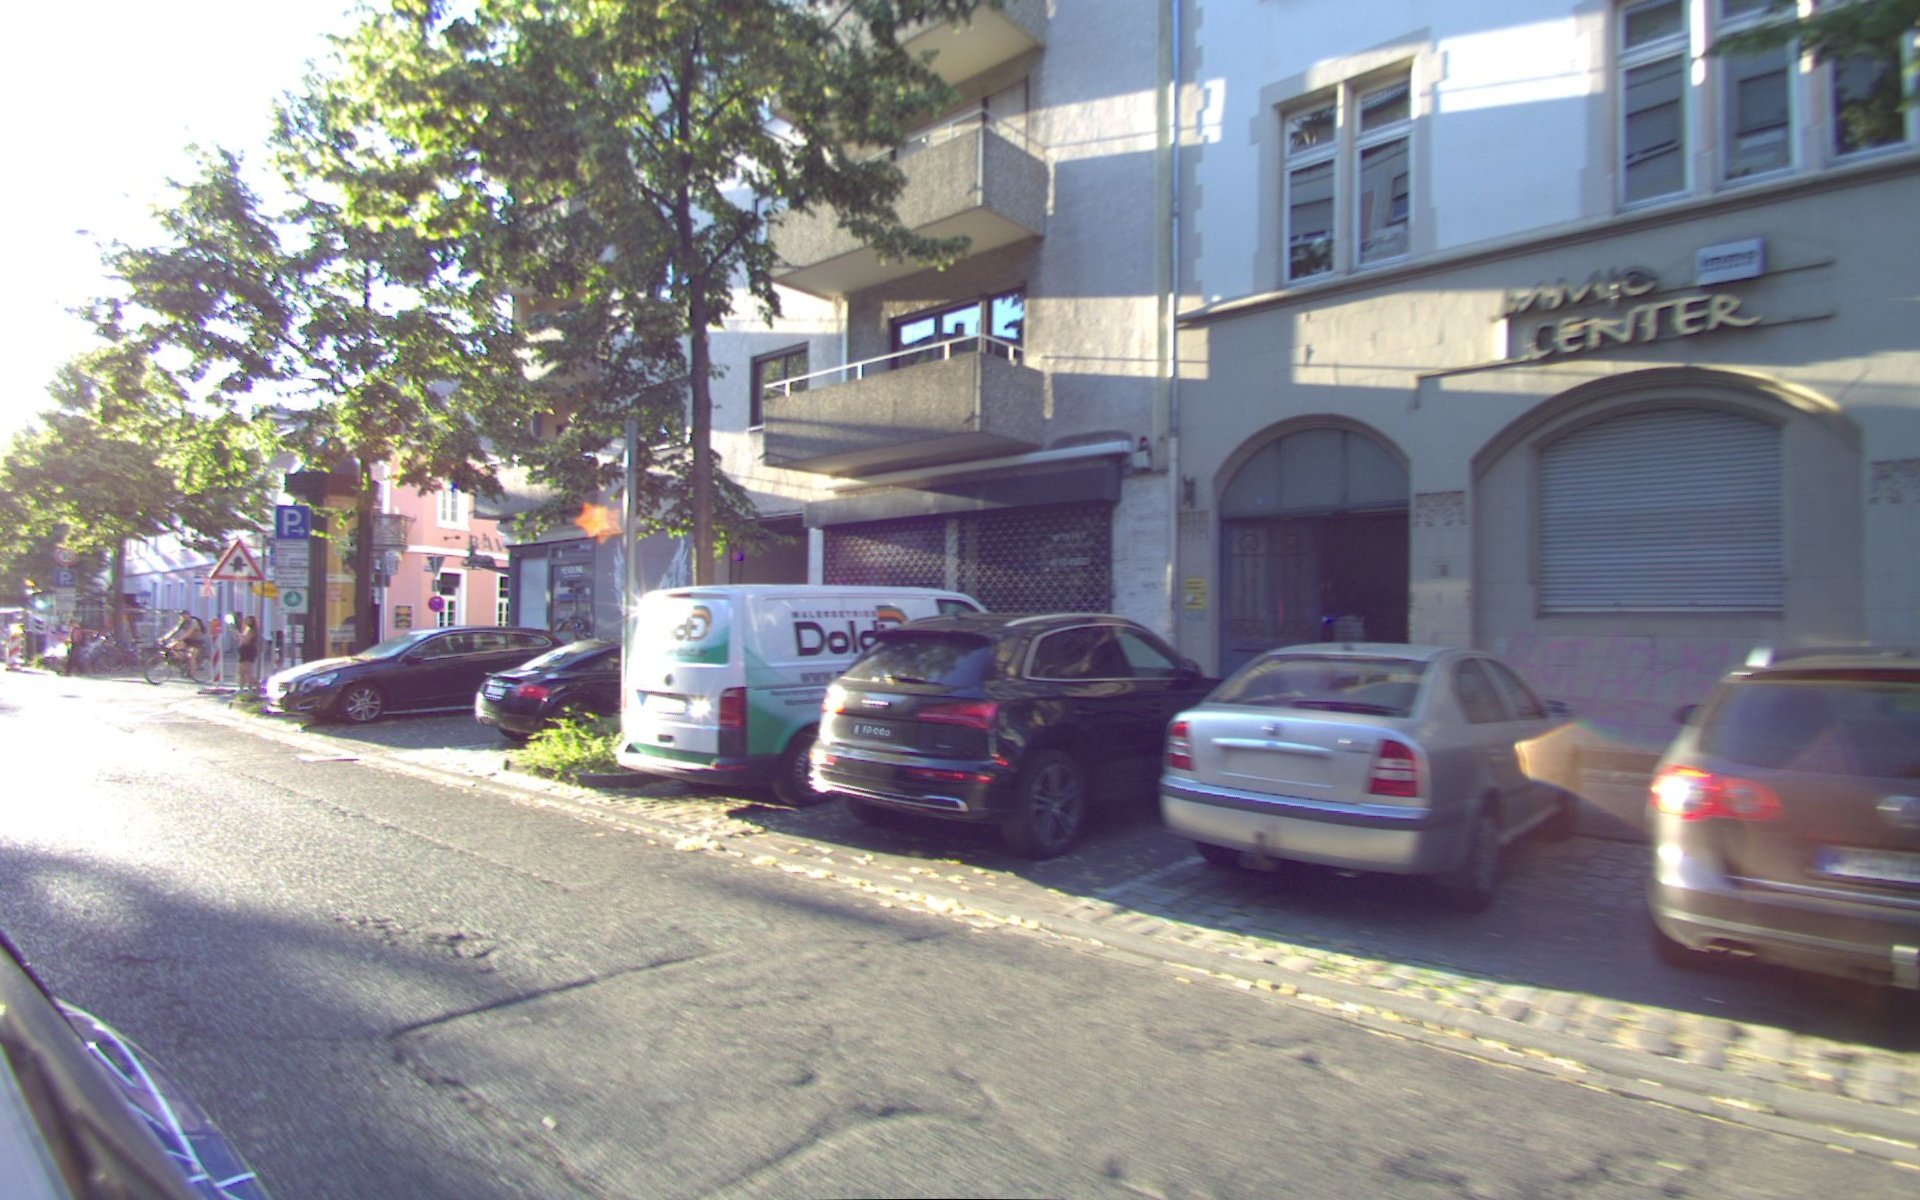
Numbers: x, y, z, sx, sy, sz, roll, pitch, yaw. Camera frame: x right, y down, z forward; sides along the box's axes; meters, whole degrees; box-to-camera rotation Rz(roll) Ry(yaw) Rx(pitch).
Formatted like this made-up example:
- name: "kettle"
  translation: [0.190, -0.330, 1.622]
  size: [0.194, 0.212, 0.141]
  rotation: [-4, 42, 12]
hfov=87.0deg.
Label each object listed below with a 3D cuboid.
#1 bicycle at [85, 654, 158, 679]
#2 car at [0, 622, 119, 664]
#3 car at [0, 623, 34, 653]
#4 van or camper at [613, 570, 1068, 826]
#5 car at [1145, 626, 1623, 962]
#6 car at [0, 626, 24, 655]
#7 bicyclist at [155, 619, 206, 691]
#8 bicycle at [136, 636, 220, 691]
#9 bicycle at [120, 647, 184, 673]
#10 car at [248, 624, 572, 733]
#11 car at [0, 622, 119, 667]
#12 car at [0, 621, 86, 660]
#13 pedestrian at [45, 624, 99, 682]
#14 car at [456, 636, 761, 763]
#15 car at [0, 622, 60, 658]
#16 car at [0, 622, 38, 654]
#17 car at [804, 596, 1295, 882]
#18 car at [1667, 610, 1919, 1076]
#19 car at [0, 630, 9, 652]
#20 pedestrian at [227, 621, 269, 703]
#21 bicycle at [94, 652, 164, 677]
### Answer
- name: "bicycle"
  translation: [-27.025, 2.133, 32.642]
  size: [1.769, 0.771, 0.408]
  rotation: [1, -2, -36]
- name: "car"
  translation: [-41.597, 1.938, 46.462]
  size: [1.813, 1.857, 4.382]
  rotation: [-2, -2, 40]
- name: "car"
  translation: [-59.312, 2.322, 61.419]
  size: [1.813, 1.857, 4.382]
  rotation: [-2, -2, 40]
- name: "van or camper"
  translation: [-0.956, 0.826, 10.065]
  size: [1.789, 1.971, 4.410]
  rotation: [-2, -3, 42]
- name: "car"
  translation: [3.055, 0.932, 6.742]
  size: [1.731, 1.453, 4.139]
  rotation: [-1, -1, 41]
- name: "car"
  translation: [-61.204, 2.512, 63.030]
  size: [1.826, 1.795, 4.098]
  rotation: [-2, -2, 41]
- name: "bicyclist"
  translation: [-20.123, 1.410, 26.128]
  size: [0.532, 1.807, 0.867]
  rotation: [-1, -2, 16]
- name: "bicycle"
  translation: [-20.130, 1.617, 26.107]
  size: [0.402, 1.353, 1.820]
  rotation: [-1, -2, 16]
- name: "bicycle"
  translation: [-28.128, 2.082, 35.263]
  size: [0.441, 0.870, 1.789]
  rotation: [-1, -2, 17]
- name: "car"
  translation: [-8.938, 1.185, 16.777]
  size: [1.813, 1.536, 4.382]
  rotation: [-2, -2, 40]
- name: "car"
  translation: [-39.789, 1.906, 44.287]
  size: [1.813, 1.857, 4.382]
  rotation: [-2, -2, 40]
- name: "car"
  translation: [-47.092, 2.021, 50.992]
  size: [1.813, 1.857, 4.382]
  rotation: [-2, -2, 40]
- name: "pedestrian"
  translation: [-26.785, 1.588, 30.532]
  size: [0.787, 1.694, 0.895]
  rotation: [0, -2, 5]
- name: "car"
  translation: [-4.564, 1.214, 13.467]
  size: [1.513, 1.424, 3.535]
  rotation: [-1, -2, 43]
- name: "car"
  translation: [-50.539, 2.105, 53.383]
  size: [1.813, 1.857, 4.382]
  rotation: [-2, -2, 40]
- name: "car"
  translation: [-57.811, 2.271, 60.075]
  size: [1.813, 1.857, 4.382]
  rotation: [-2, -2, 40]
- name: "car"
  translation: [0.940, 0.873, 8.082]
  size: [1.733, 1.681, 4.137]
  rotation: [-1, -2, 43]
- name: "car"
  translation: [4.689, 0.825, 4.837]
  size: [1.743, 1.548, 4.140]
  rotation: [-1, -1, 41]
- name: "car"
  translation: [-67.168, 2.753, 68.326]
  size: [1.825, 1.489, 4.099]
  rotation: [-2, -2, 40]
- name: "pedestrian"
  translation: [-14.693, 1.267, 20.886]
  size: [0.721, 1.660, 0.542]
  rotation: [-2, -3, 44]
- name: "bicycle"
  translation: [-27.567, 2.139, 33.594]
  size: [1.769, 0.771, 0.408]
  rotation: [1, -2, -36]
